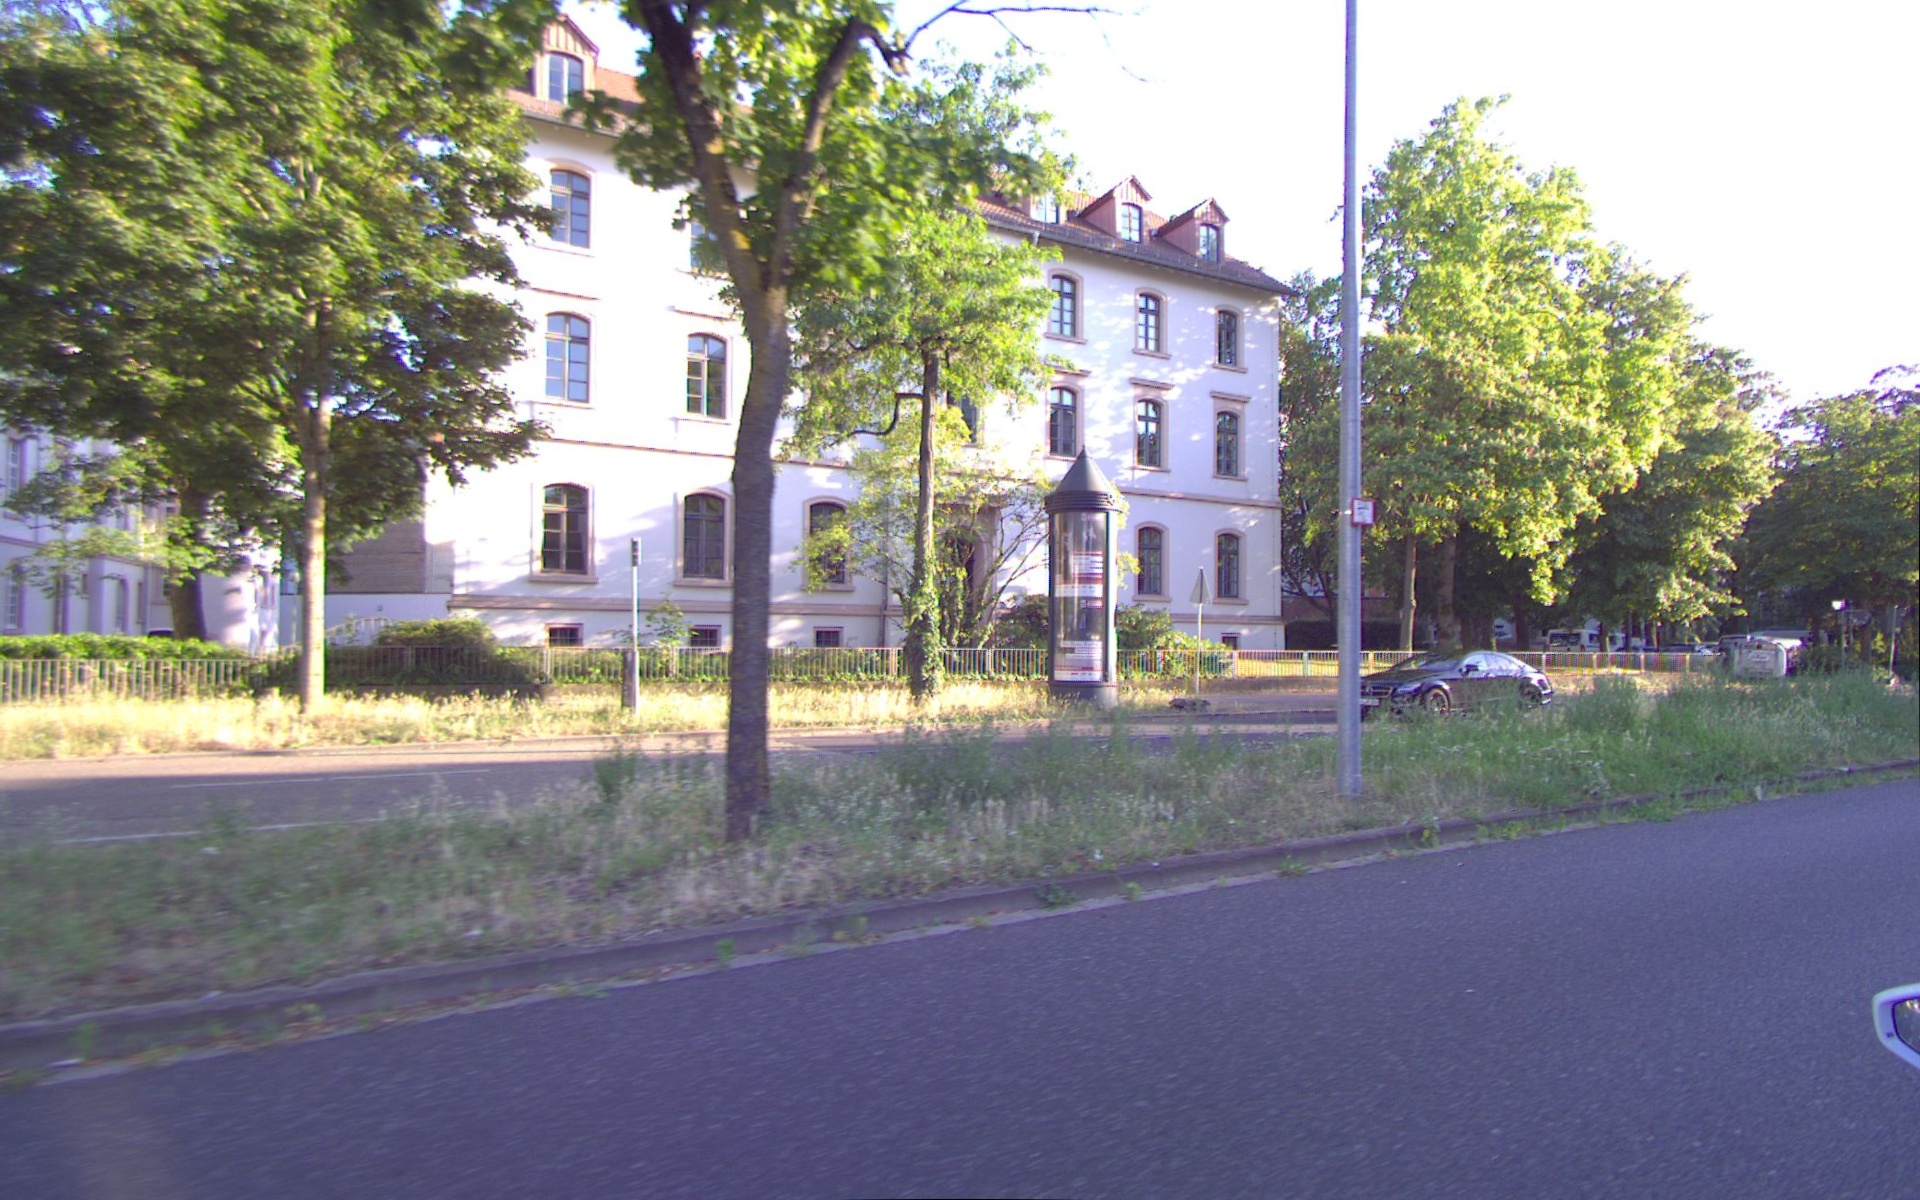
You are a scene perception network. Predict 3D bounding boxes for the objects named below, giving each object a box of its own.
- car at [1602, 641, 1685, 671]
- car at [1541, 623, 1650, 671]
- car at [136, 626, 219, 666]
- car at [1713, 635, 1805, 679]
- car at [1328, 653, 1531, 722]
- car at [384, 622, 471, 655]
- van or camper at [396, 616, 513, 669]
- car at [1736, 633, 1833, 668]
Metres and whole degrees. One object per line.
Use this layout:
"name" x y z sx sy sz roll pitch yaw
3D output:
"car" 32.895 2.688 48.349 3.951 1.350 1.725 2 -2 -29
"car" 32.264 2.363 50.974 5.024 2.319 2.211 1 -1 -22
"car" -32.142 1.901 41.365 1.755 1.568 3.984 1 -3 -24
"car" 35.027 2.493 44.028 3.951 1.819 1.811 2 -1 -29
"car" 9.644 1.771 20.603 3.959 1.289 1.767 2 -6 -29
"car" -26.572 1.926 50.125 3.768 1.518 1.984 2 0 -30
"van or camper" -21.501 1.807 42.763 4.320 2.107 1.984 2 0 -31
"car" 61.468 3.768 74.974 5.128 2.518 2.275 0 -2 10
